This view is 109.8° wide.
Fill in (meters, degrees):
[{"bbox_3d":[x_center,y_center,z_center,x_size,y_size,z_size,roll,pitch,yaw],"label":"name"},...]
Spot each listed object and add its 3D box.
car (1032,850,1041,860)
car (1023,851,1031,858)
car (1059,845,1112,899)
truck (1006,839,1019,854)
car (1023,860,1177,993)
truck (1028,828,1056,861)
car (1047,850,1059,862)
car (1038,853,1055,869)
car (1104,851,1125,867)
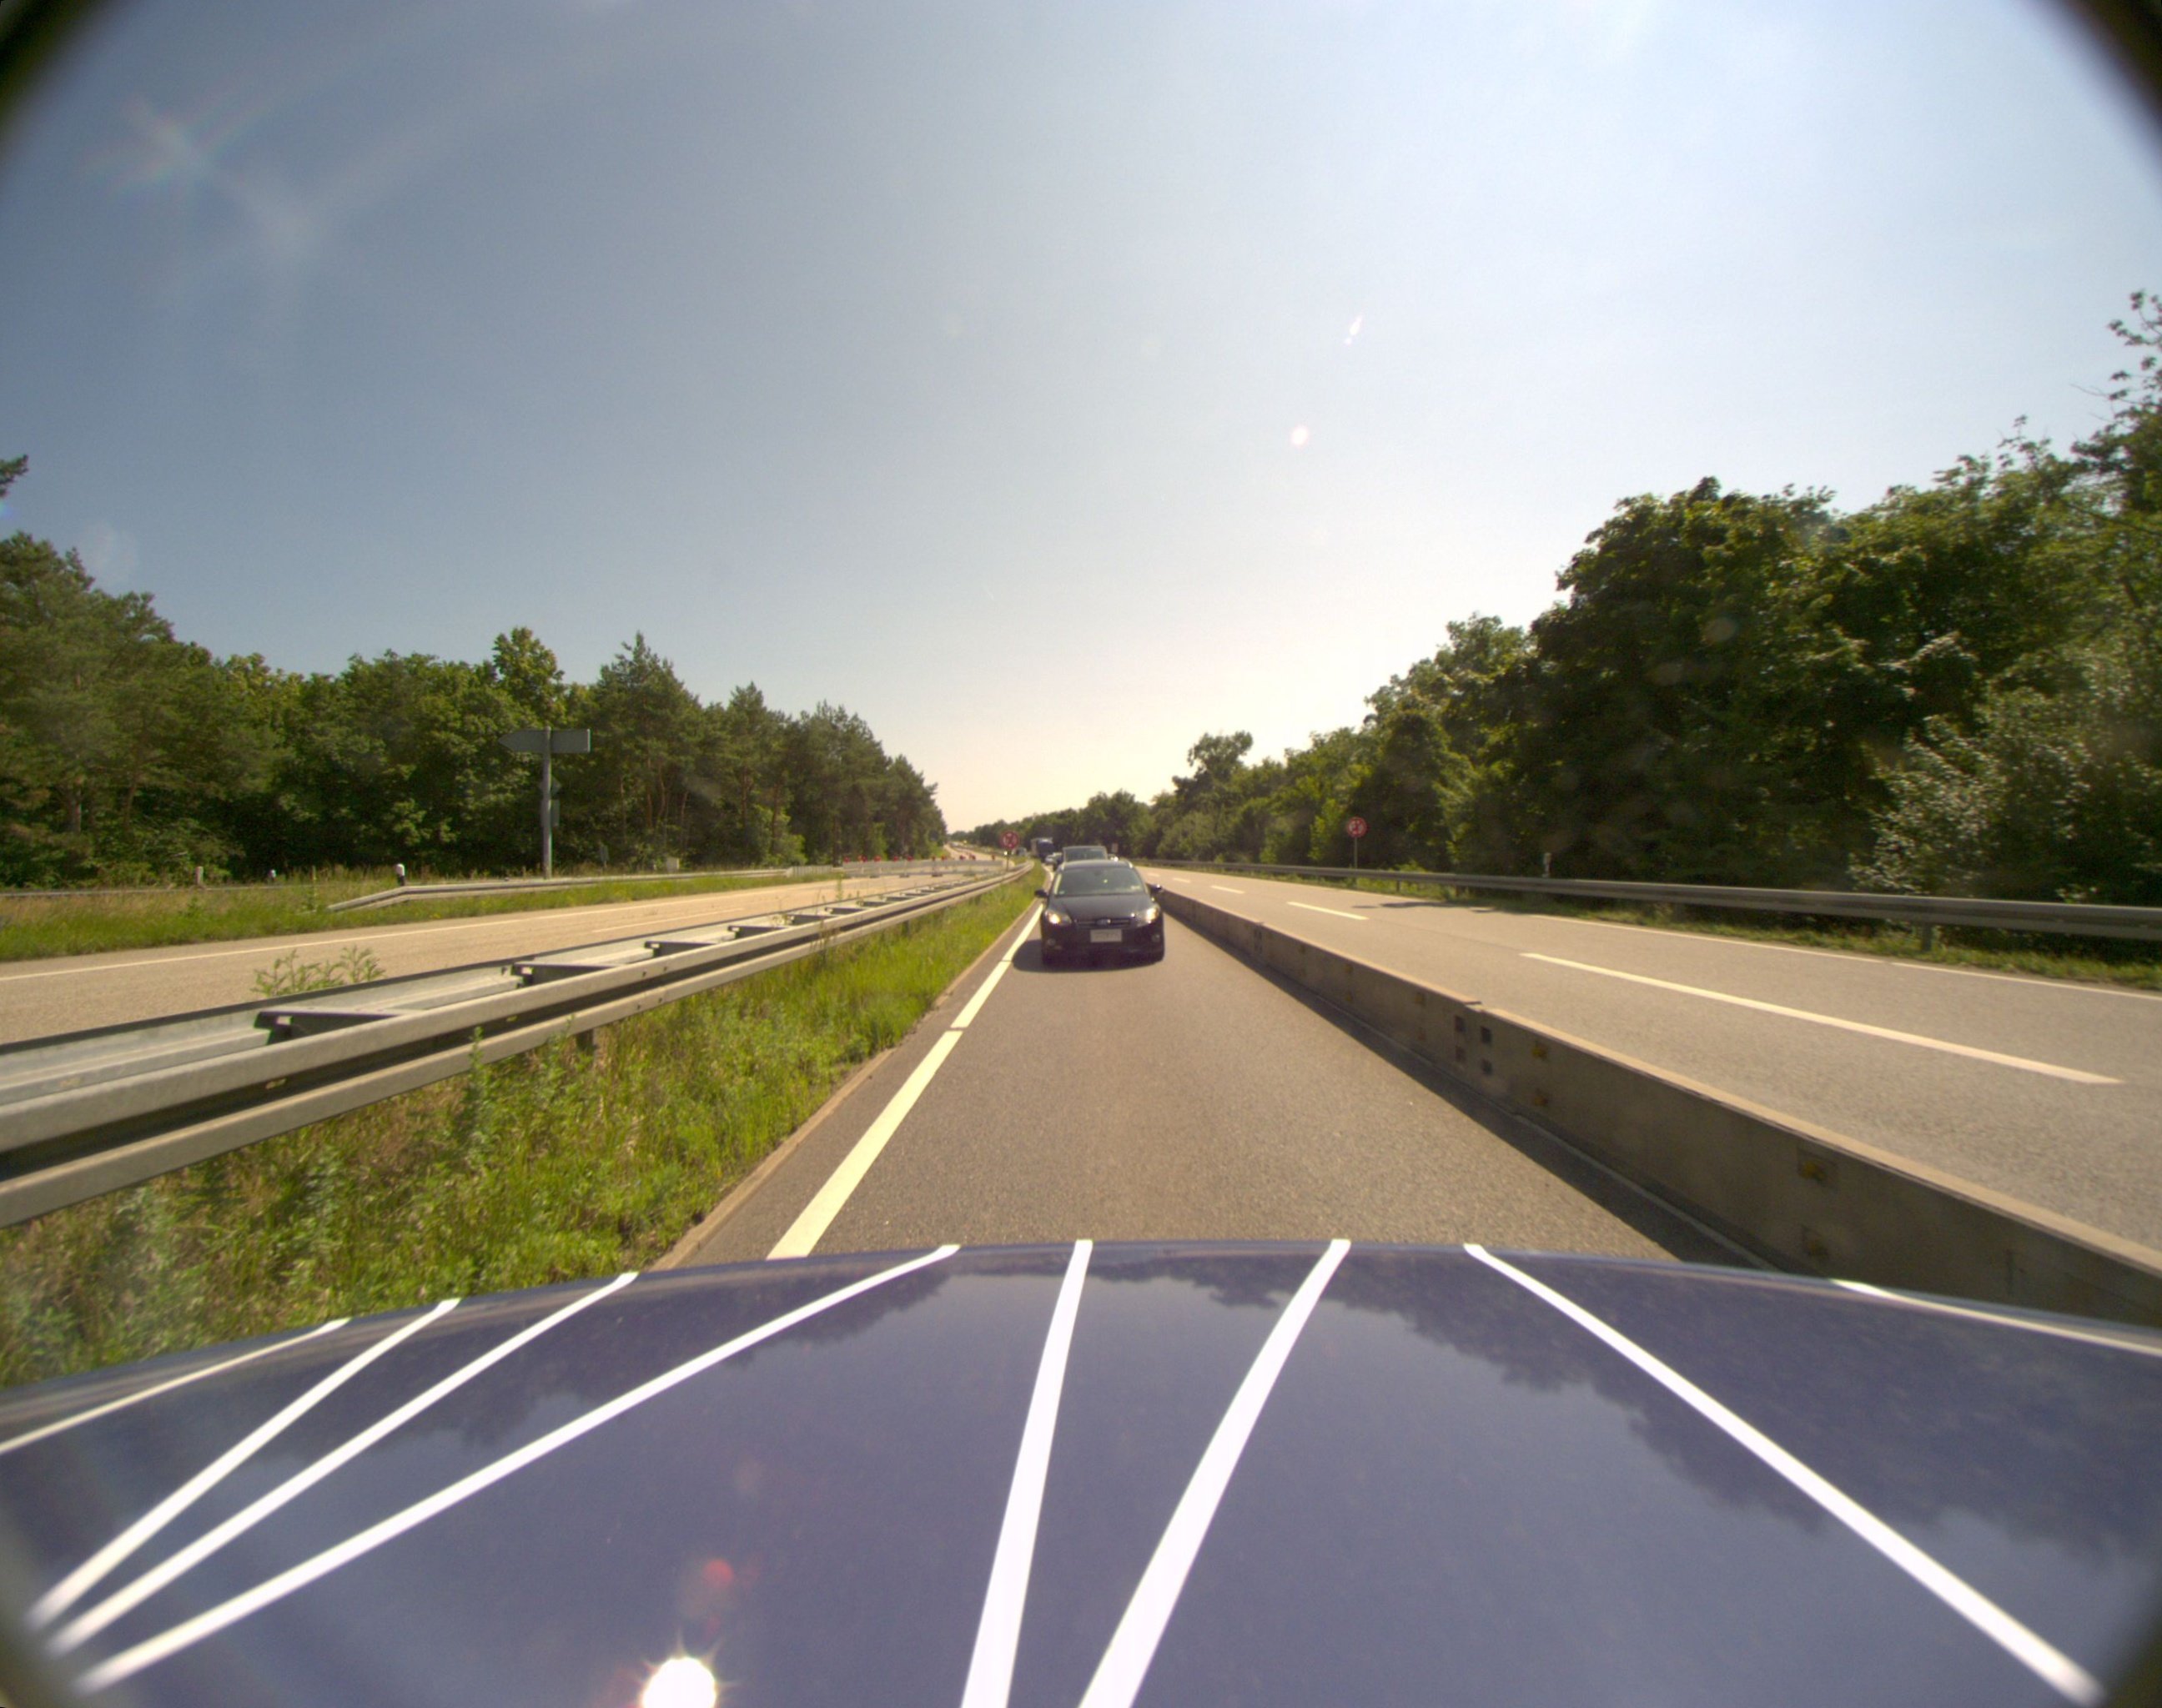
[{"bbox_3d":[-8.963,0.175,151.831,1.527,1.648,3.977,-5,3,-5],"label":"car"},{"bbox_3d":[-12.957,0.123,182.042,1.528,1.647,3.977,0,0,-9],"label":"car"},{"bbox_3d":[0.164,0.662,31.558,1.959,1.902,4.933,-2,2,0],"label":"car"},{"bbox_3d":[-20.533,-2.238,227.596,3.831,4.265,11.240,-1,0,-5],"label":"truck"},{"bbox_3d":[0.270,0.912,11.829,1.846,1.537,4.935,-2,0,1],"label":"car"},{"bbox_3d":[-6.671,-1.549,128.354,3.831,5.266,11.238,-1,0,-7],"label":"truck"},{"bbox_3d":[-3.970,0.231,106.436,1.528,1.647,3.752,0,0,-5],"label":"car"},{"bbox_3d":[-3.541,0.682,77.581,1.528,1.647,3.978,0,0,-5],"label":"car"},{"bbox_3d":[3.349,0.461,77.463,1.953,1.569,4.435,-1,0,1],"label":"car"}]
